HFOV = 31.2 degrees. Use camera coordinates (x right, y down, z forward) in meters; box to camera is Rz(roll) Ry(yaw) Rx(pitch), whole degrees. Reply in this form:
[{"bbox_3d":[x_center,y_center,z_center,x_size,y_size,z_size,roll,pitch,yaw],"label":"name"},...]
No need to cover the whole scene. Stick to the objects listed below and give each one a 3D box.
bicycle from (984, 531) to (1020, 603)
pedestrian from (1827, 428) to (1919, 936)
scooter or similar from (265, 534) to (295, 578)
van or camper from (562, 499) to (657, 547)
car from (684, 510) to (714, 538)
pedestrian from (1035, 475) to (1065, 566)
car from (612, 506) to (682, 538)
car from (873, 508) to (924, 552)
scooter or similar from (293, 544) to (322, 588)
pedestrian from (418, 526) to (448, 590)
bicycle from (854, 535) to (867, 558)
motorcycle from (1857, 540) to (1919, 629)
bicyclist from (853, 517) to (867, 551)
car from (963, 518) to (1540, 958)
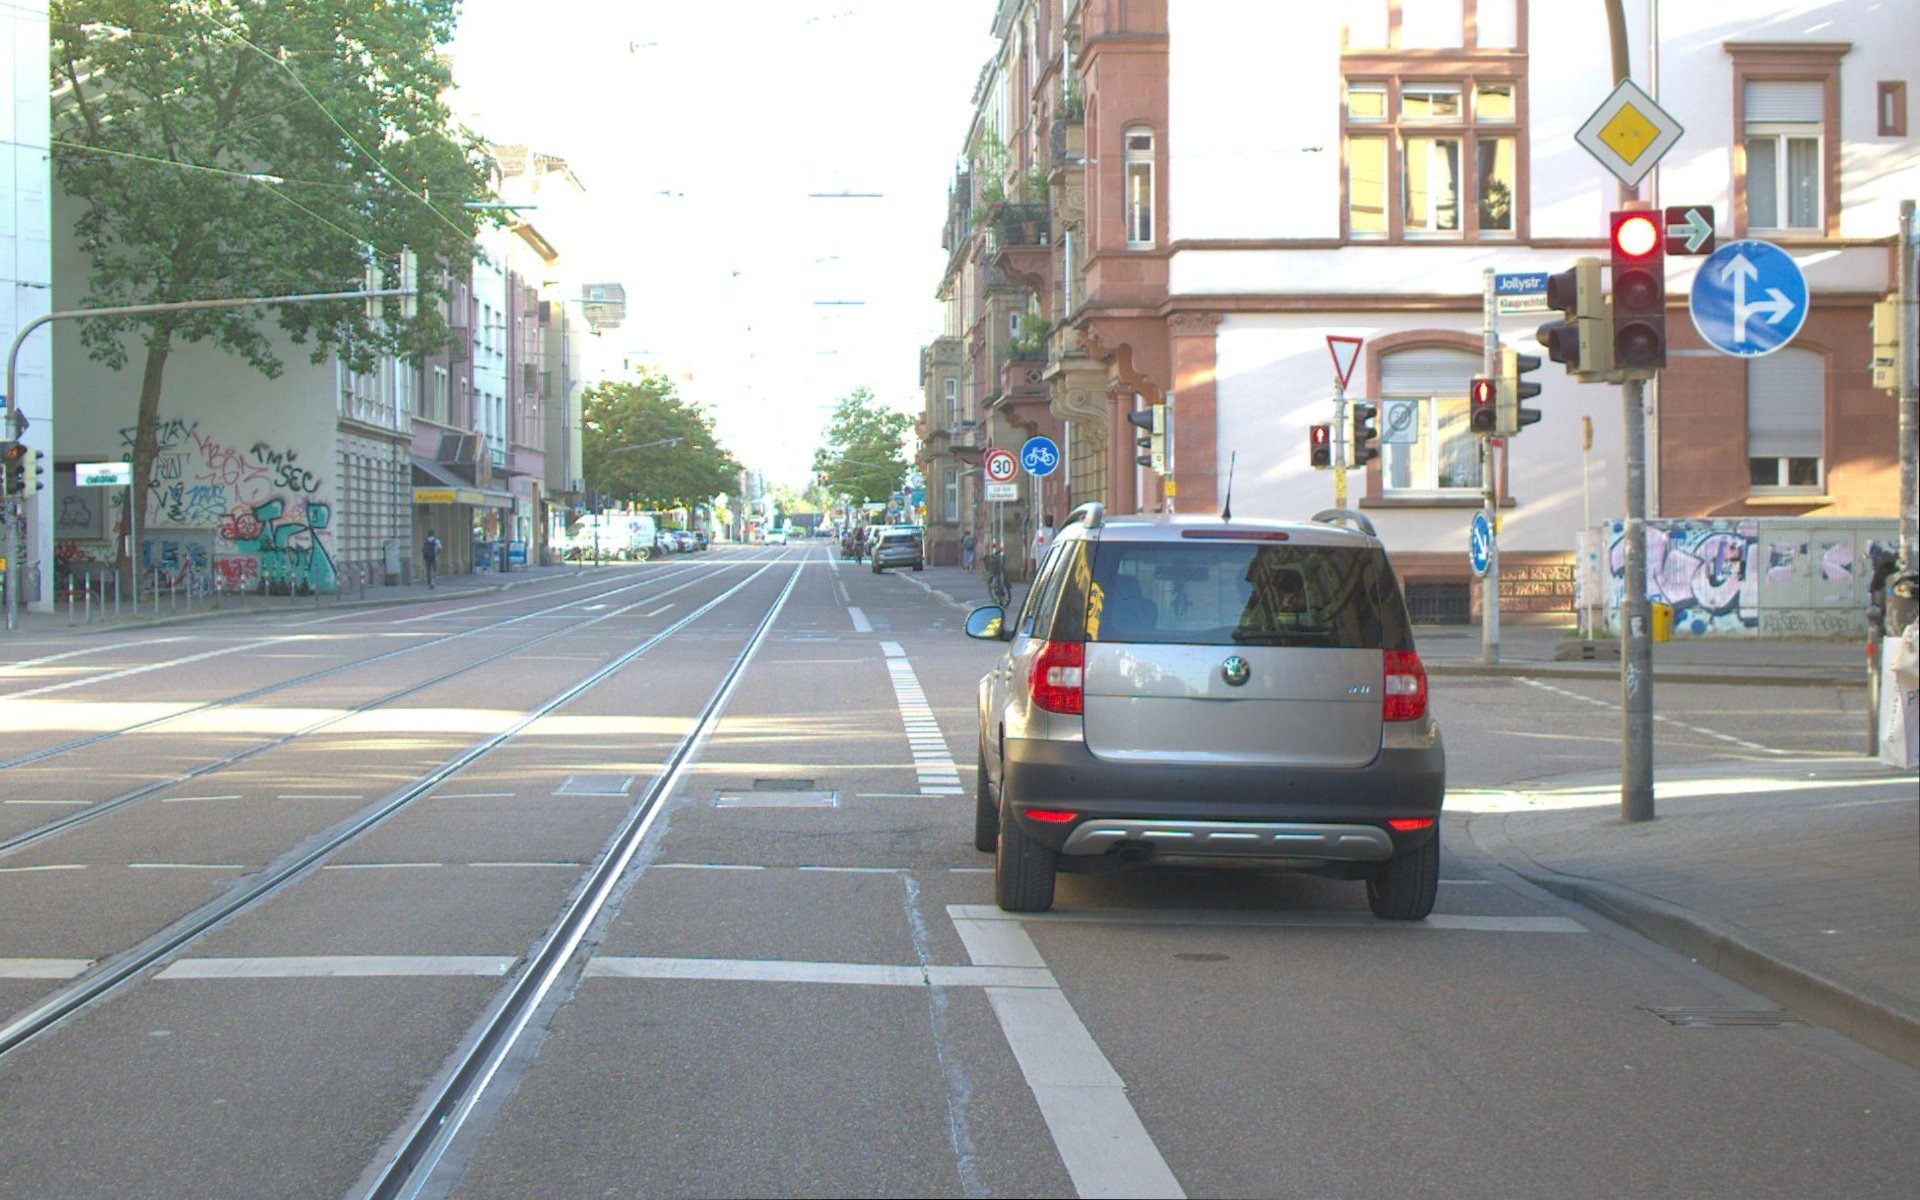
[{"bbox_3d":[0.783,-0.637,64.823,0.653,1.319,2.177,-1,1,0],"label":"bicycle"},{"bbox_3d":[3.728,0.261,12.480,0.805,1.793,0.762,-5,2,-3],"label":"pedestrian"},{"bbox_3d":[-16.768,-1.089,84.757,0.516,1.042,1.479,-1,1,-4],"label":"scooter or similar"},{"bbox_3d":[-18.719,-4.117,183.474,4.635,2.554,2.000,-1,1,-33],"label":"van or camper"},{"bbox_3d":[-18.615,-5.440,245.393,1.993,2.007,4.001,-1,1,-3],"label":"car"},{"bbox_3d":[1.765,-1.565,67.396,0.544,1.774,0.504,-1,1,-1],"label":"pedestrian"},{"bbox_3d":[-19.949,-4.965,219.311,3.986,2.007,2.000,-2,2,-27],"label":"car"},{"bbox_3d":[-2.401,-2.732,133.981,1.950,1.678,4.000,-1,1,-1],"label":"car"},{"bbox_3d":[-16.089,-0.848,84.818,0.516,1.053,1.479,-1,1,-4],"label":"scooter or similar"},{"bbox_3d":[-14.435,-1.150,94.144,0.701,1.722,0.648,-1,1,-2],"label":"pedestrian"},{"bbox_3d":[-4.548,-2.466,156.935,0.575,1.026,1.895,-1,1,-1],"label":"bicycle"},{"bbox_3d":[12.129,-0.215,44.656,0.719,1.016,2.286,-1,4,10],"label":"motorcycle"},{"bbox_3d":[-4.559,-3.004,156.917,0.575,1.548,0.595,-1,1,-1],"label":"bicyclist"},{"bbox_3d":[1.118,0.484,15.149,1.993,1.612,4.001,2,1,-2],"label":"car"}]
